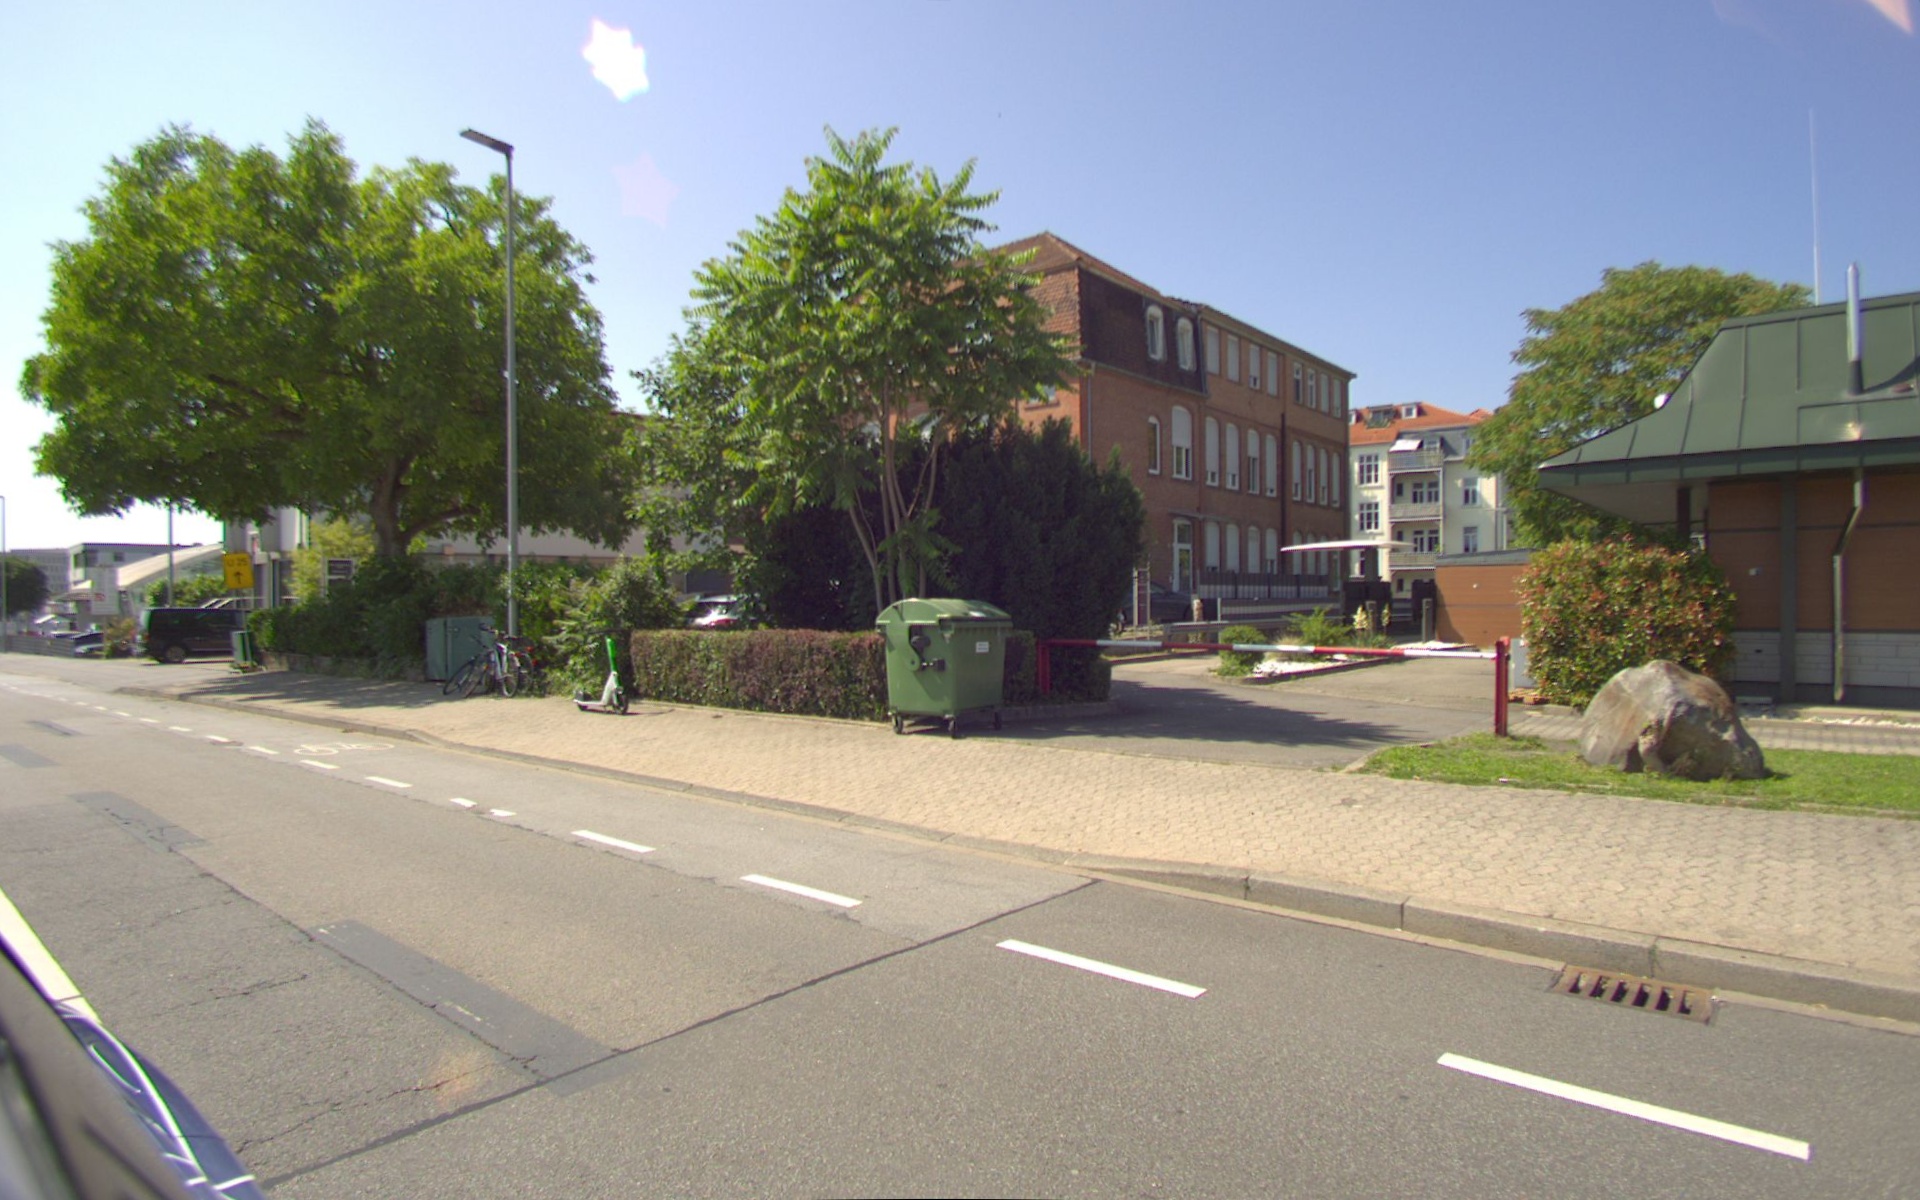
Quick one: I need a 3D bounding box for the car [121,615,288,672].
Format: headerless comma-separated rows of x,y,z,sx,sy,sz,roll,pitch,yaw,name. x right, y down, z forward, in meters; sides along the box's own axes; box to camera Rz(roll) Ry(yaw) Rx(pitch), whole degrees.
-27.212,1.519,36.560,2.092,1.880,4.518,-2,-2,41,car

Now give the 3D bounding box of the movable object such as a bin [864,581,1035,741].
-0.093,0.632,11.155,1.303,1.602,1.437,-2,-1,32,movable object such as a bin

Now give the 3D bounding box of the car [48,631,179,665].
-41.980,2.345,50.259,2.046,1.492,4.692,-2,-1,39,car

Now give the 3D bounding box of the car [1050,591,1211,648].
5.282,0.590,31.530,4.402,1.645,2.162,0,-1,-17,car

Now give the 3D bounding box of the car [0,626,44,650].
-73.499,2.929,77.736,1.836,1.709,4.573,-2,0,5,car

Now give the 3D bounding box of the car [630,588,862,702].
-3.794,0.849,18.351,1.787,1.855,3.722,-2,-4,44,car

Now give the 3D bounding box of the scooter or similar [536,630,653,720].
-5.078,1.017,14.023,1.619,1.136,0.641,-2,2,35,scooter or similar

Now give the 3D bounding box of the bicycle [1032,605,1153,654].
3.661,0.828,28.361,3.439,1.296,0.872,-1,-1,40,bicycle

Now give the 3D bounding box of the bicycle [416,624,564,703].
-7.788,1.017,16.711,2.762,1.126,1.017,-2,3,38,bicycle
